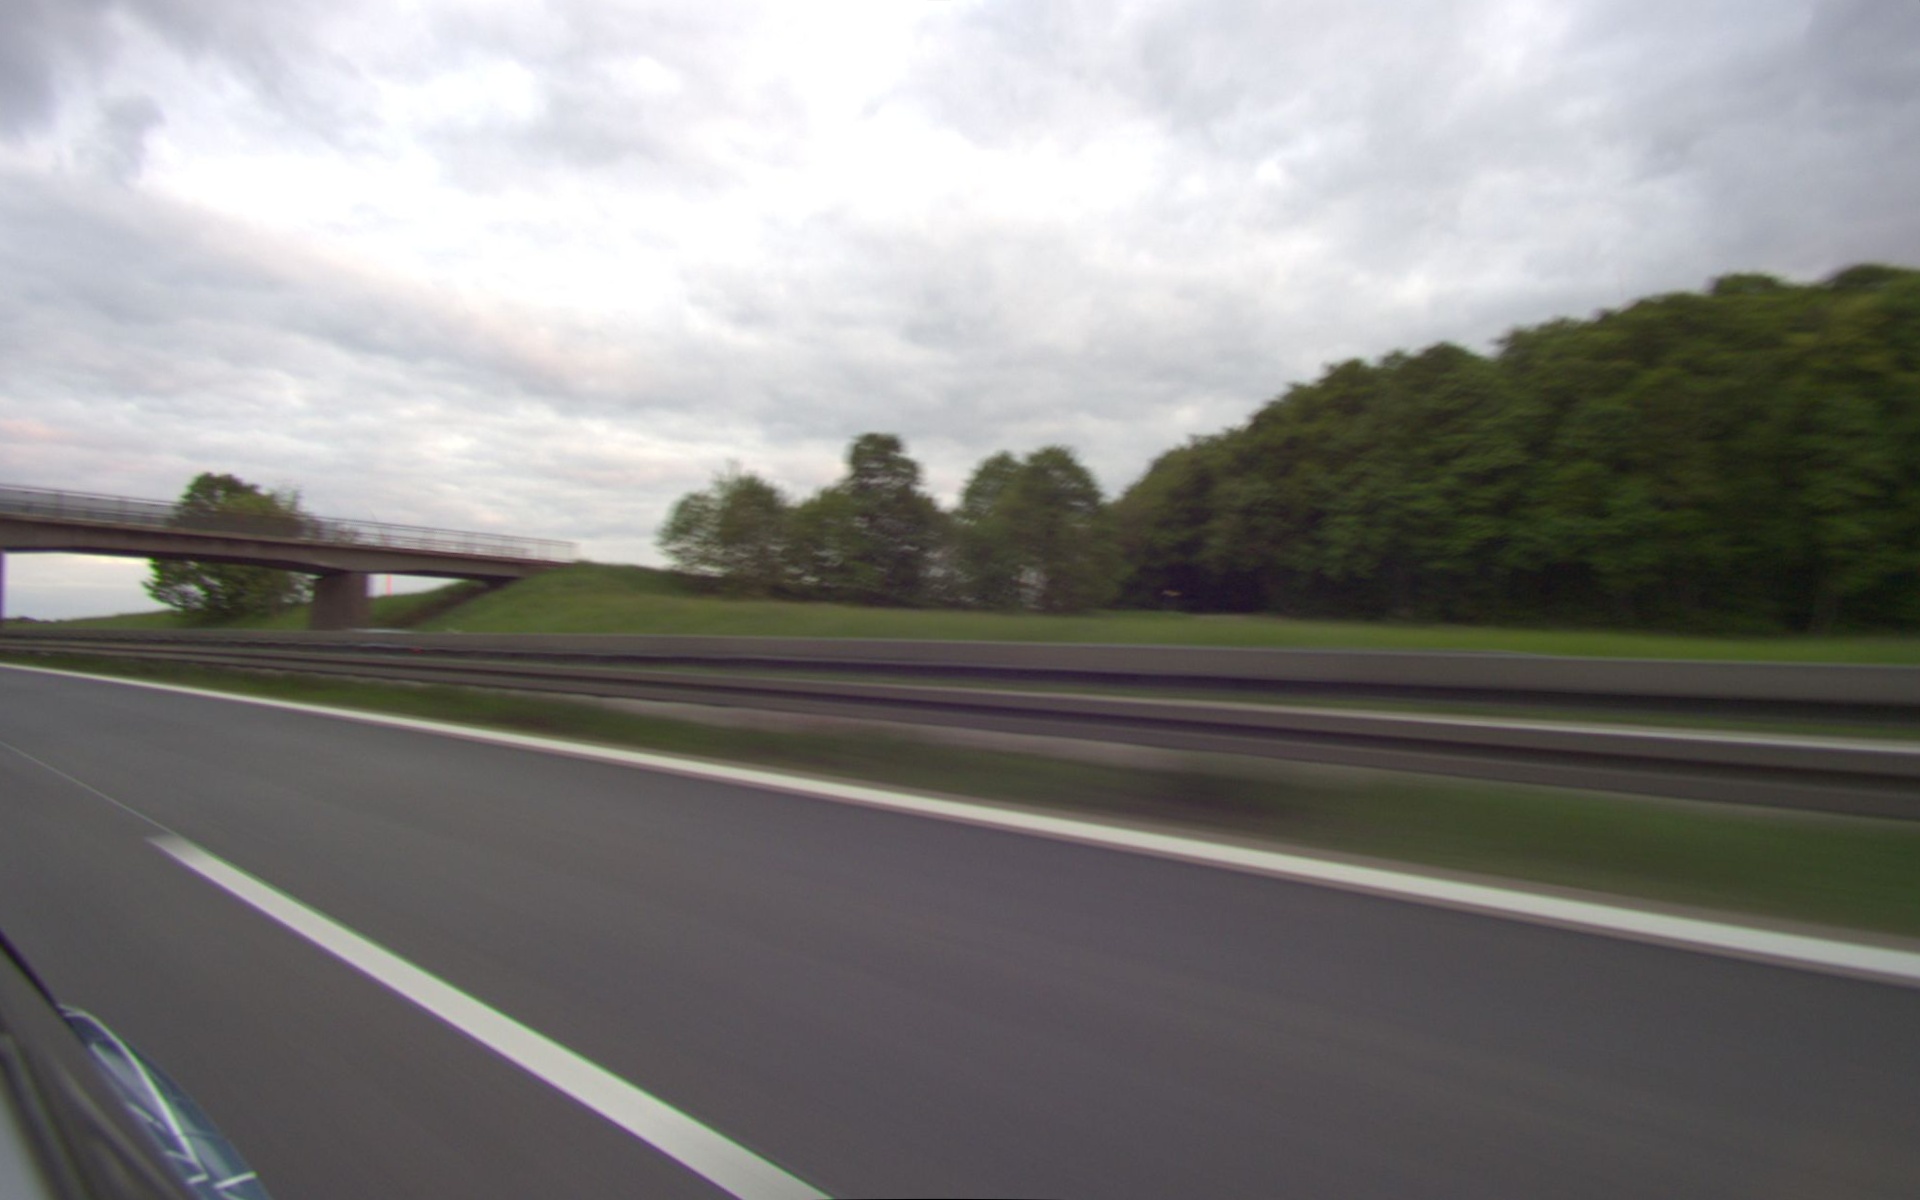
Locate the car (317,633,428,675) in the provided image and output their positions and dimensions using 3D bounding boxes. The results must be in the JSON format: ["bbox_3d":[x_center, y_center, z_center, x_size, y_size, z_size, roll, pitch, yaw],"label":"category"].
[{"bbox_3d":[-21.565,1.925,37.090,4.669,1.453,1.782,-1,-2,36],"label":"car"}]
